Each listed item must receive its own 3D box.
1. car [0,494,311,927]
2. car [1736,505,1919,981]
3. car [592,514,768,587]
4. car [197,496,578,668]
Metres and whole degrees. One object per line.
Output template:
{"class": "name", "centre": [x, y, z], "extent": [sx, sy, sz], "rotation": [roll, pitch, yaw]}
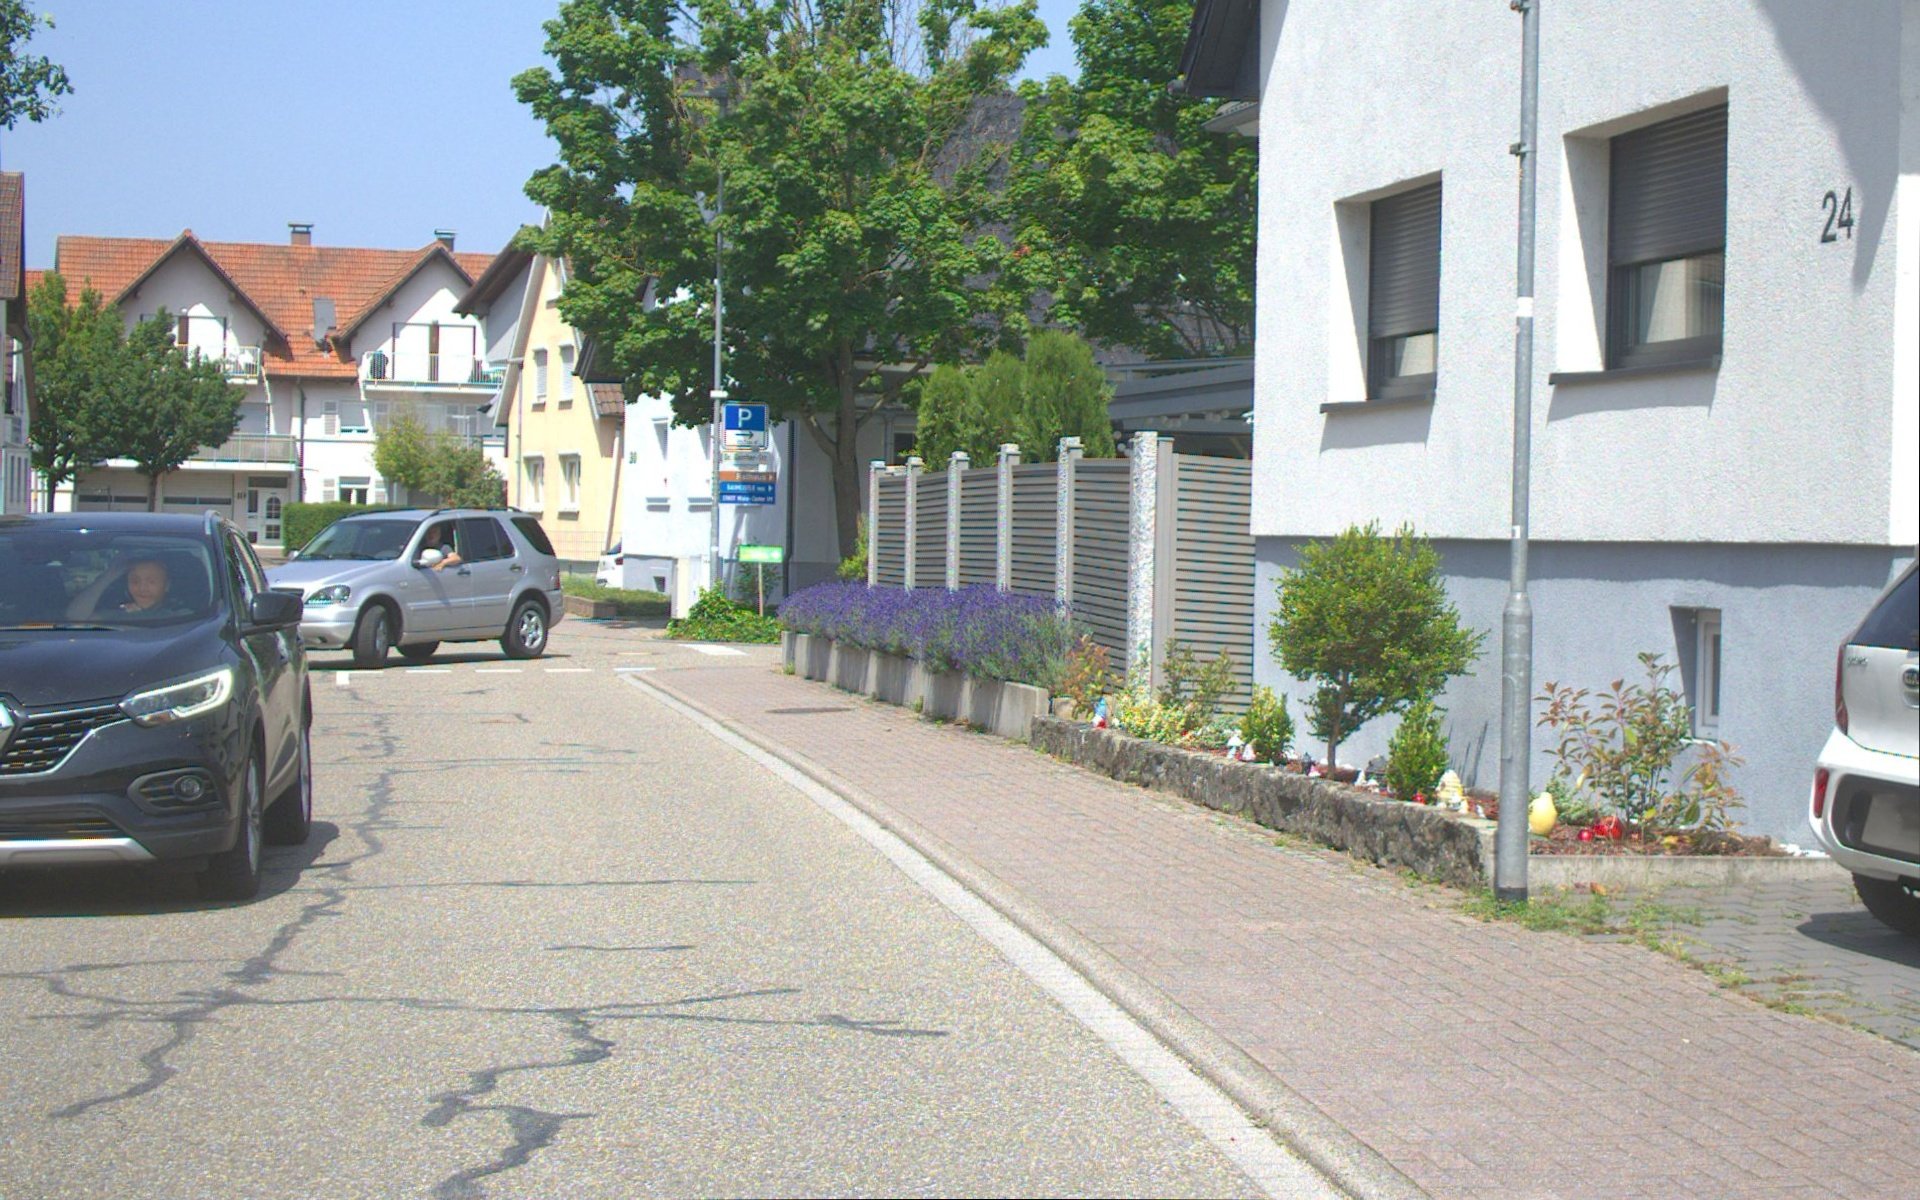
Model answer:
{"class": "car", "centre": [-3.830, 0.371, 14.852], "extent": [1.775, 1.618, 4.106], "rotation": [0, 1, -7]}
{"class": "car", "centre": [4.678, 0.412, 11.500], "extent": [3.656, 1.469, 1.766], "rotation": [-1, 2, -14]}
{"class": "car", "centre": [-5.279, -0.923, 64.801], "extent": [3.042, 1.341, 1.423], "rotation": [0, 0, -21]}
{"class": "car", "centre": [-6.442, -0.252, 39.156], "extent": [1.889, 1.761, 4.324], "rotation": [0, 3, 31]}
